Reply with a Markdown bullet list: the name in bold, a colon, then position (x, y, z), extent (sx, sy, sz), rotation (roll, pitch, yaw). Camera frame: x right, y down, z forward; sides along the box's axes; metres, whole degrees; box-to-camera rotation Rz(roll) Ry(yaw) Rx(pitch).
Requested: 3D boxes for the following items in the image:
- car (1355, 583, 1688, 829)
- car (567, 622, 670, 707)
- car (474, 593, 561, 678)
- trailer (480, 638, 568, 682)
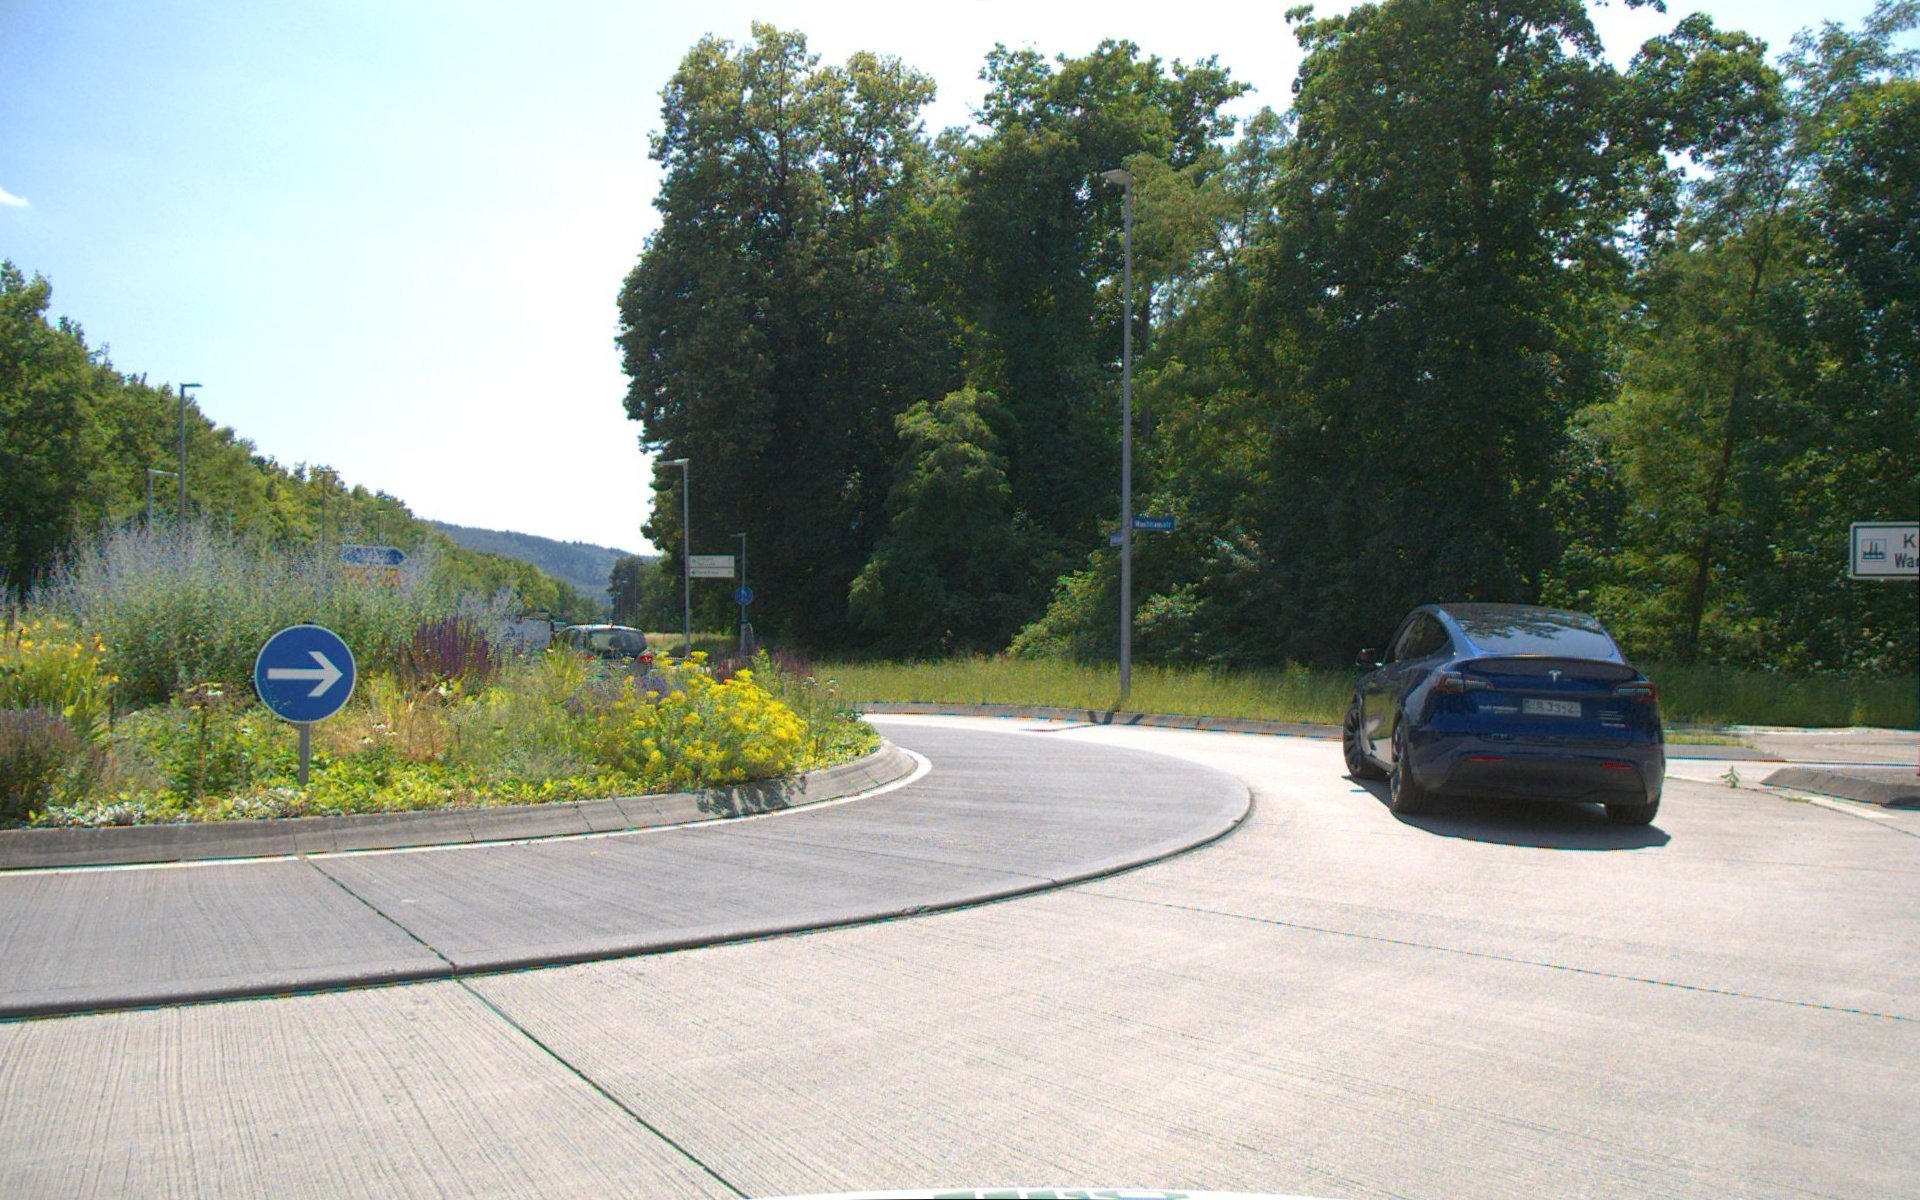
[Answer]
- **car**: position (4.427, 0.759, 13.789), extent (1.951, 1.668, 4.761), rotation (0, -1, 10)
- **car**: position (-7.137, 1.311, 34.281), extent (1.756, 1.635, 4.109), rotation (1, -2, -16)
- **car**: position (-13.089, 1.048, 48.694), extent (2.133, 2.357, 4.954), rotation (2, -2, -18)
- **trailer**: position (-11.829, 1.603, 44.771), extent (2.089, 1.117, 3.336), rotation (2, -2, -19)
